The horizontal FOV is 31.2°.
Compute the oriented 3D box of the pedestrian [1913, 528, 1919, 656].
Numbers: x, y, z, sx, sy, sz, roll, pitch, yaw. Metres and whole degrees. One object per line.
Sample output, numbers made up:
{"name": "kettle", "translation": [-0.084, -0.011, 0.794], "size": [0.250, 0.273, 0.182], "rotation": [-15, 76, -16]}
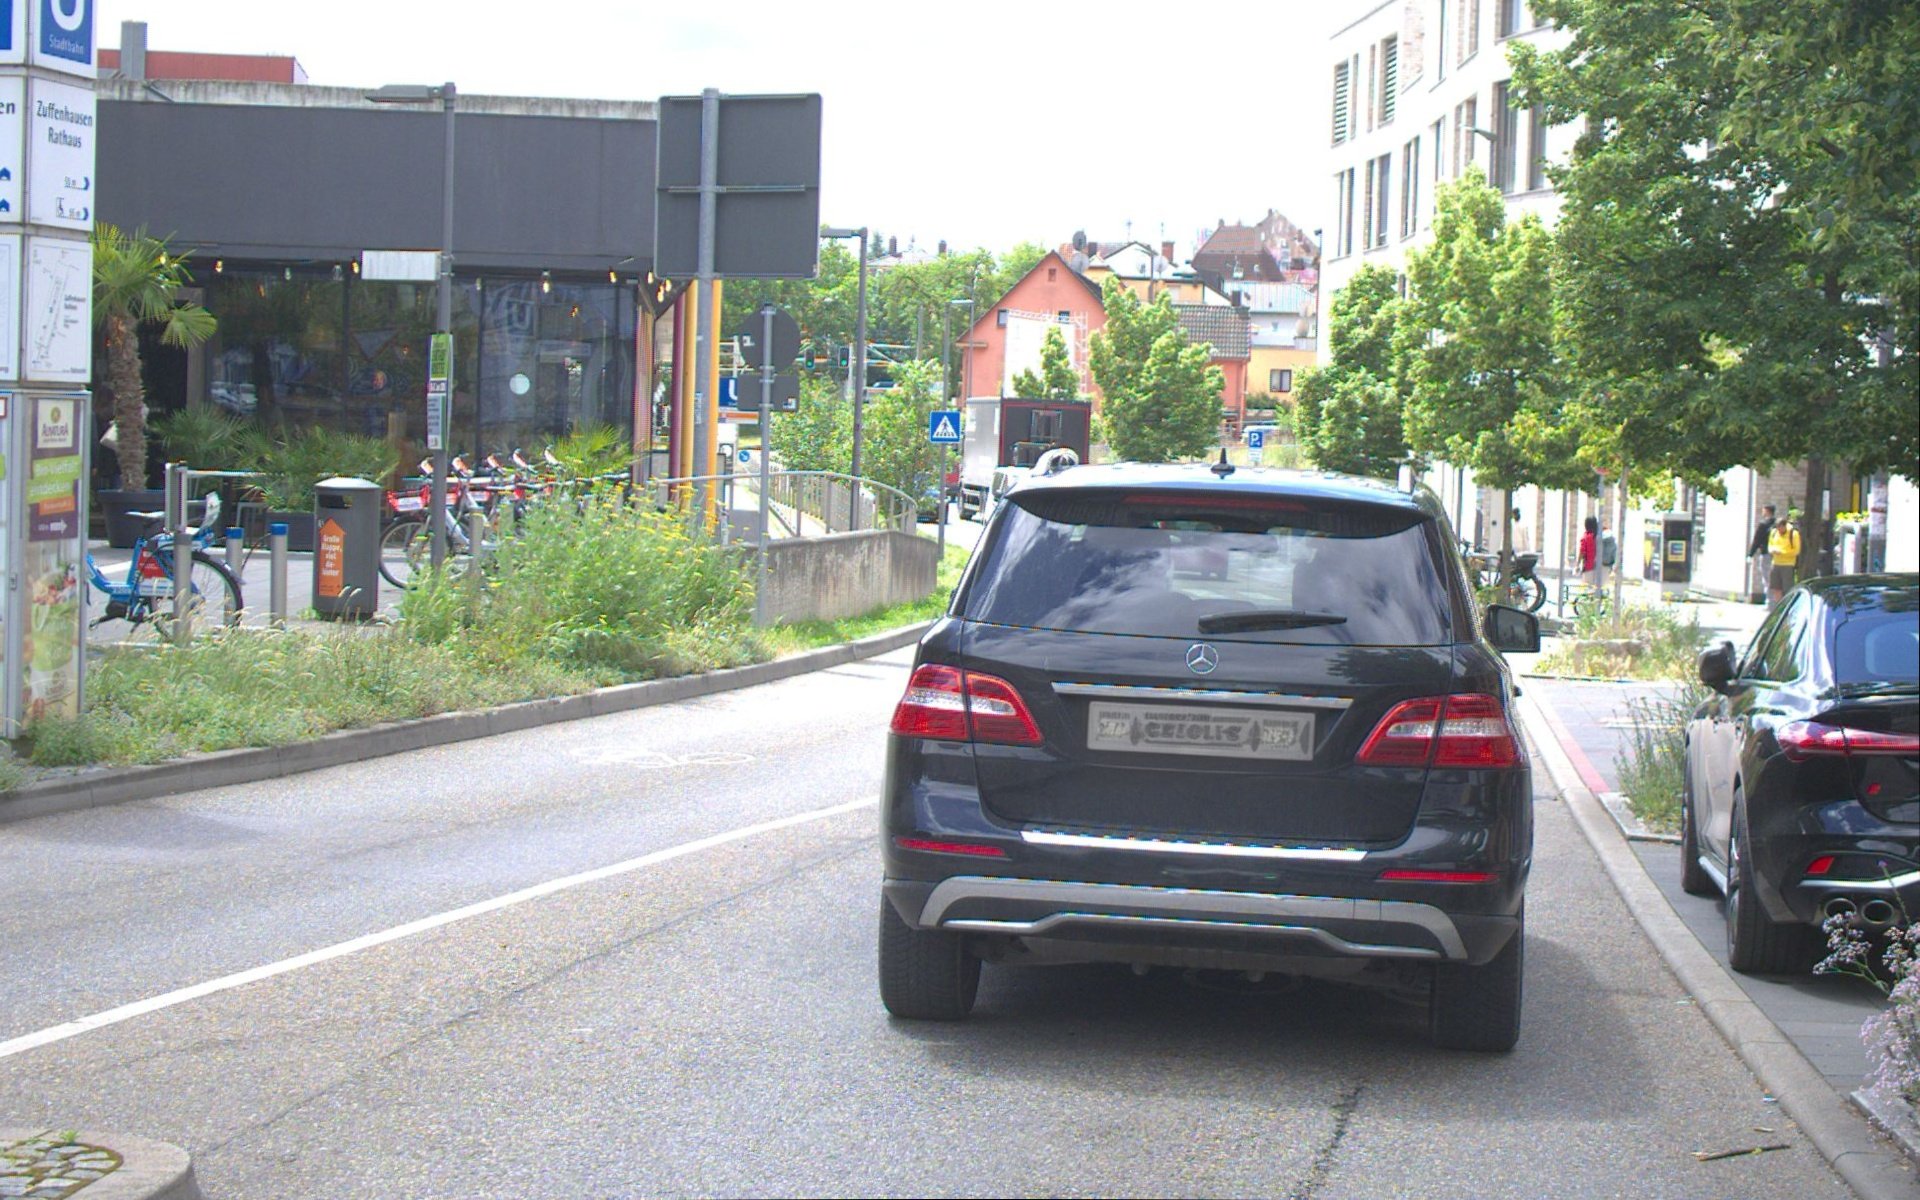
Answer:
{"name": "pedestrian", "translation": [12.103, -0.093, 42.045], "size": [0.711, 1.557, 0.568], "rotation": [2, 2, 5]}

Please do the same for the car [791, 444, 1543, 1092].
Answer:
{"name": "car", "translation": [0.877, 0.401, 11.544], "size": [2.028, 1.721, 4.432], "rotation": [1, 1, 9]}

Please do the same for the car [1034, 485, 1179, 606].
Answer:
{"name": "car", "translation": [2.209, -0.836, 50.978], "size": [1.841, 1.602, 4.000], "rotation": [4, 2, 5]}

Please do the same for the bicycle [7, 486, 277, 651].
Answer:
{"name": "bicycle", "translation": [-5.228, -0.211, 21.988], "size": [1.612, 0.994, 0.500], "rotation": [2, 2, 14]}

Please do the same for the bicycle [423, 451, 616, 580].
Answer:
{"name": "bicycle", "translation": [-3.890, -0.746, 30.398], "size": [1.568, 1.087, 0.578], "rotation": [2, 2, 8]}

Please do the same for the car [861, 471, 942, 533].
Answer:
{"name": "car", "translation": [-1.696, -2.843, 98.810], "size": [1.840, 1.602, 4.001], "rotation": [4, 2, -7]}

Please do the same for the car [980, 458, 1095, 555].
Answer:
{"name": "car", "translation": [1.598, -2.009, 72.669], "size": [1.840, 1.851, 4.499], "rotation": [4, 2, -5]}

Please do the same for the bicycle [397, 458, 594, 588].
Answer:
{"name": "bicycle", "translation": [-3.990, -0.668, 29.554], "size": [1.568, 1.065, 0.539], "rotation": [2, 2, 8]}

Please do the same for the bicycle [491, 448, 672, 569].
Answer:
{"name": "bicycle", "translation": [-3.539, -0.857, 32.180], "size": [1.568, 1.087, 0.578], "rotation": [2, 2, 8]}

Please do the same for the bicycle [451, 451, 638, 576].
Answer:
{"name": "bicycle", "translation": [-3.776, -0.789, 31.274], "size": [1.568, 1.087, 0.578], "rotation": [2, 2, 8]}

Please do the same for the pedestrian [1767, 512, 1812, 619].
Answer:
{"name": "pedestrian", "translation": [13.204, -0.555, 54.731], "size": [0.559, 1.685, 0.639], "rotation": [2, 2, 4]}

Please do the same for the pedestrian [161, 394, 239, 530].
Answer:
{"name": "pedestrian", "translation": [-8.299, -1.505, 37.550], "size": [0.581, 1.458, 0.615], "rotation": [2, 2, 16]}

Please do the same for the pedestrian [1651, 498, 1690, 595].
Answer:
{"name": "pedestrian", "translation": [12.419, -0.939, 60.105], "size": [0.559, 1.677, 0.568], "rotation": [2, 2, 4]}

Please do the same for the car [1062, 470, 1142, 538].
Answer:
{"name": "car", "translation": [3.499, -2.398, 85.187], "size": [1.840, 1.519, 4.000], "rotation": [4, 2, 2]}

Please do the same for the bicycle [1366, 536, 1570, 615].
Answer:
{"name": "bicycle", "translation": [7.901, -0.391, 53.563], "size": [3.060, 1.142, 0.710], "rotation": [1, 2, 3]}

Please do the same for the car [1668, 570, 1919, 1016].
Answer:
{"name": "car", "translation": [3.818, 0.619, 13.318], "size": [1.857, 1.401, 4.373], "rotation": [1, 1, 9]}

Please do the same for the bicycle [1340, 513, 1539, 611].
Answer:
{"name": "bicycle", "translation": [7.654, -0.616, 54.971], "size": [3.060, 1.481, 0.710], "rotation": [1, 2, 3]}

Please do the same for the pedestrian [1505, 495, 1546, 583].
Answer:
{"name": "pedestrian", "translation": [10.988, -1.184, 66.838], "size": [0.558, 1.677, 0.568], "rotation": [1, 2, -14]}

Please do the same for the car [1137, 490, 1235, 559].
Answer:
{"name": "car", "translation": [4.716, -1.609, 72.162], "size": [1.608, 1.378, 3.837], "rotation": [1, 2, -3]}

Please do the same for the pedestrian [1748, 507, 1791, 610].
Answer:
{"name": "pedestrian", "translation": [13.444, -0.694, 57.105], "size": [0.559, 1.677, 0.568], "rotation": [2, 2, 4]}

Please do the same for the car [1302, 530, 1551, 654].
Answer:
{"name": "car", "translation": [5.641, -0.136, 41.259], "size": [1.611, 1.378, 3.830], "rotation": [2, 2, 30]}

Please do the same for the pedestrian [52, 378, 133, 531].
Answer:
{"name": "pedestrian", "translation": [-9.266, -1.552, 36.710], "size": [0.615, 1.613, 0.581], "rotation": [3, 2, 43]}

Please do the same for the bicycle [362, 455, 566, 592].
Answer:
{"name": "bicycle", "translation": [-4.151, -0.643, 28.799], "size": [1.568, 1.087, 0.578], "rotation": [2, 2, 8]}

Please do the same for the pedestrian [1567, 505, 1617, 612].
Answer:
{"name": "pedestrian", "translation": [10.084, -0.668, 54.842], "size": [0.663, 1.677, 0.568], "rotation": [2, 2, 2]}
